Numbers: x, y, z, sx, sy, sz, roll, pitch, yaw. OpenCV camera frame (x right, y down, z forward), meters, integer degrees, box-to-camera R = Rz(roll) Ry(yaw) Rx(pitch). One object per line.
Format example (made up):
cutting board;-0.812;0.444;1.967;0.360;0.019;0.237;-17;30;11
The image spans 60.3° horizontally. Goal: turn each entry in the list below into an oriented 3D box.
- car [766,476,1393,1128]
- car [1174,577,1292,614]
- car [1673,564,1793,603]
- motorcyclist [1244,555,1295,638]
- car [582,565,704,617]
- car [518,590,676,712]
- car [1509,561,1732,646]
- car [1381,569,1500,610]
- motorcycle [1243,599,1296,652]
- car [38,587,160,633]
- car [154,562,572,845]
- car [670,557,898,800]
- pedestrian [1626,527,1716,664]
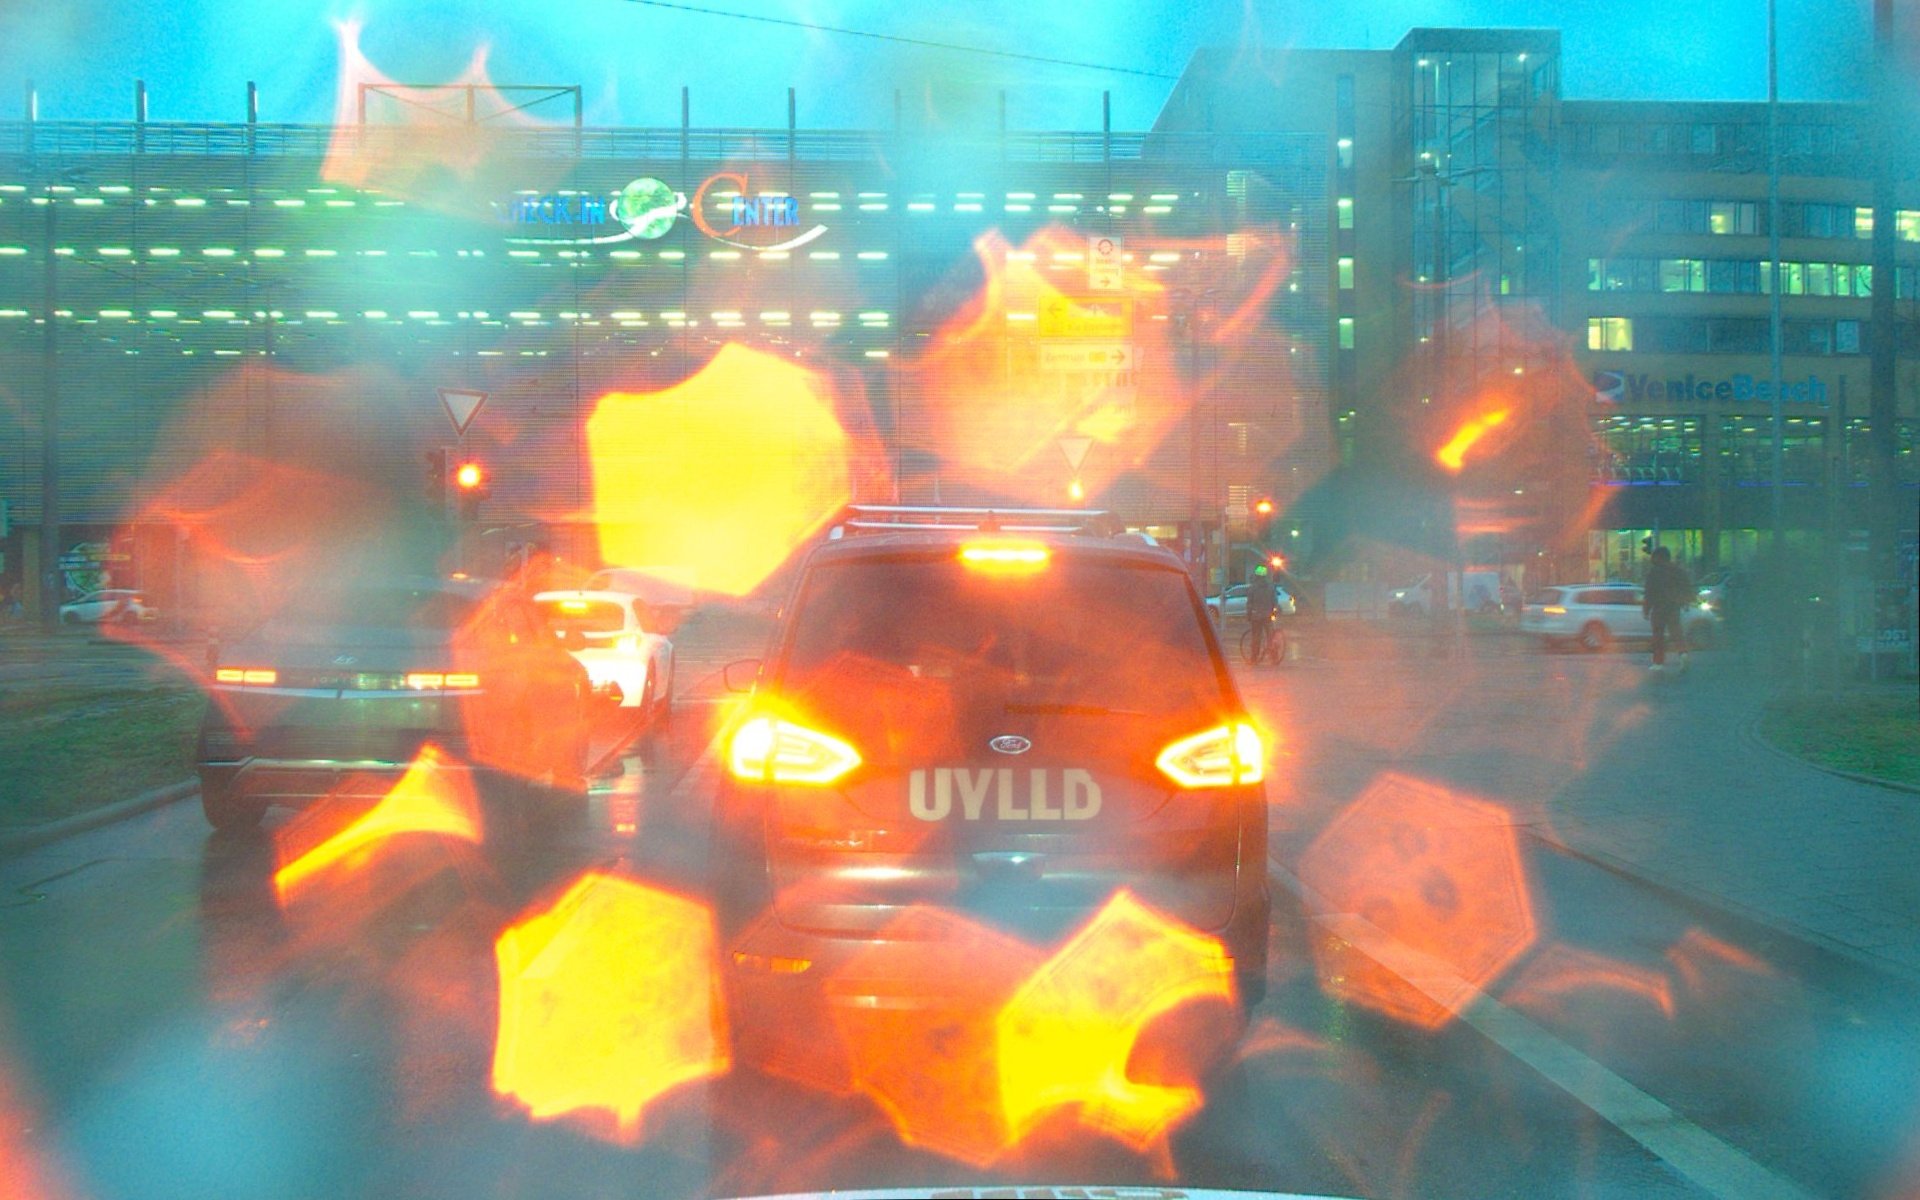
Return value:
car;0.233;0.553;6.718;1.700;1.768;4.244;2;0;-3
car;10.972;-0.194;66.566;4.336;1.414;1.797;-1;0;-8
car;32.683;-0.695;69.990;4.348;1.561;1.797;-1;0;-8
motorcyclist;5.930;-0.062;31.746;0.850;1.561;1.109;0;0;5
car;-12.859;-0.377;67.412;4.747;2.035;1.797;-1;0;-8
car;-4.169;0.526;19.454;1.512;1.273;4.060;0;0;-8
car;15.438;0.075;38.747;4.583;1.883;1.827;-1;0;-10
car;19.526;-0.439;67.274;4.336;1.623;1.797;-1;0;-8
motorcycle;5.928;0.475;31.732;0.835;0.989;1.582;0;0;5
car;-34.430;0.385;66.185;3.910;1.646;1.736;2;1;-6
car;-3.867;0.577;11.443;1.718;1.601;3.996;0;0;-5
car;-1.415;0.564;13.681;1.604;1.726;3.667;1;0;-5
pedestrian;10.535;-0.081;24.557;1.146;1.957;0.898;2;0;22
